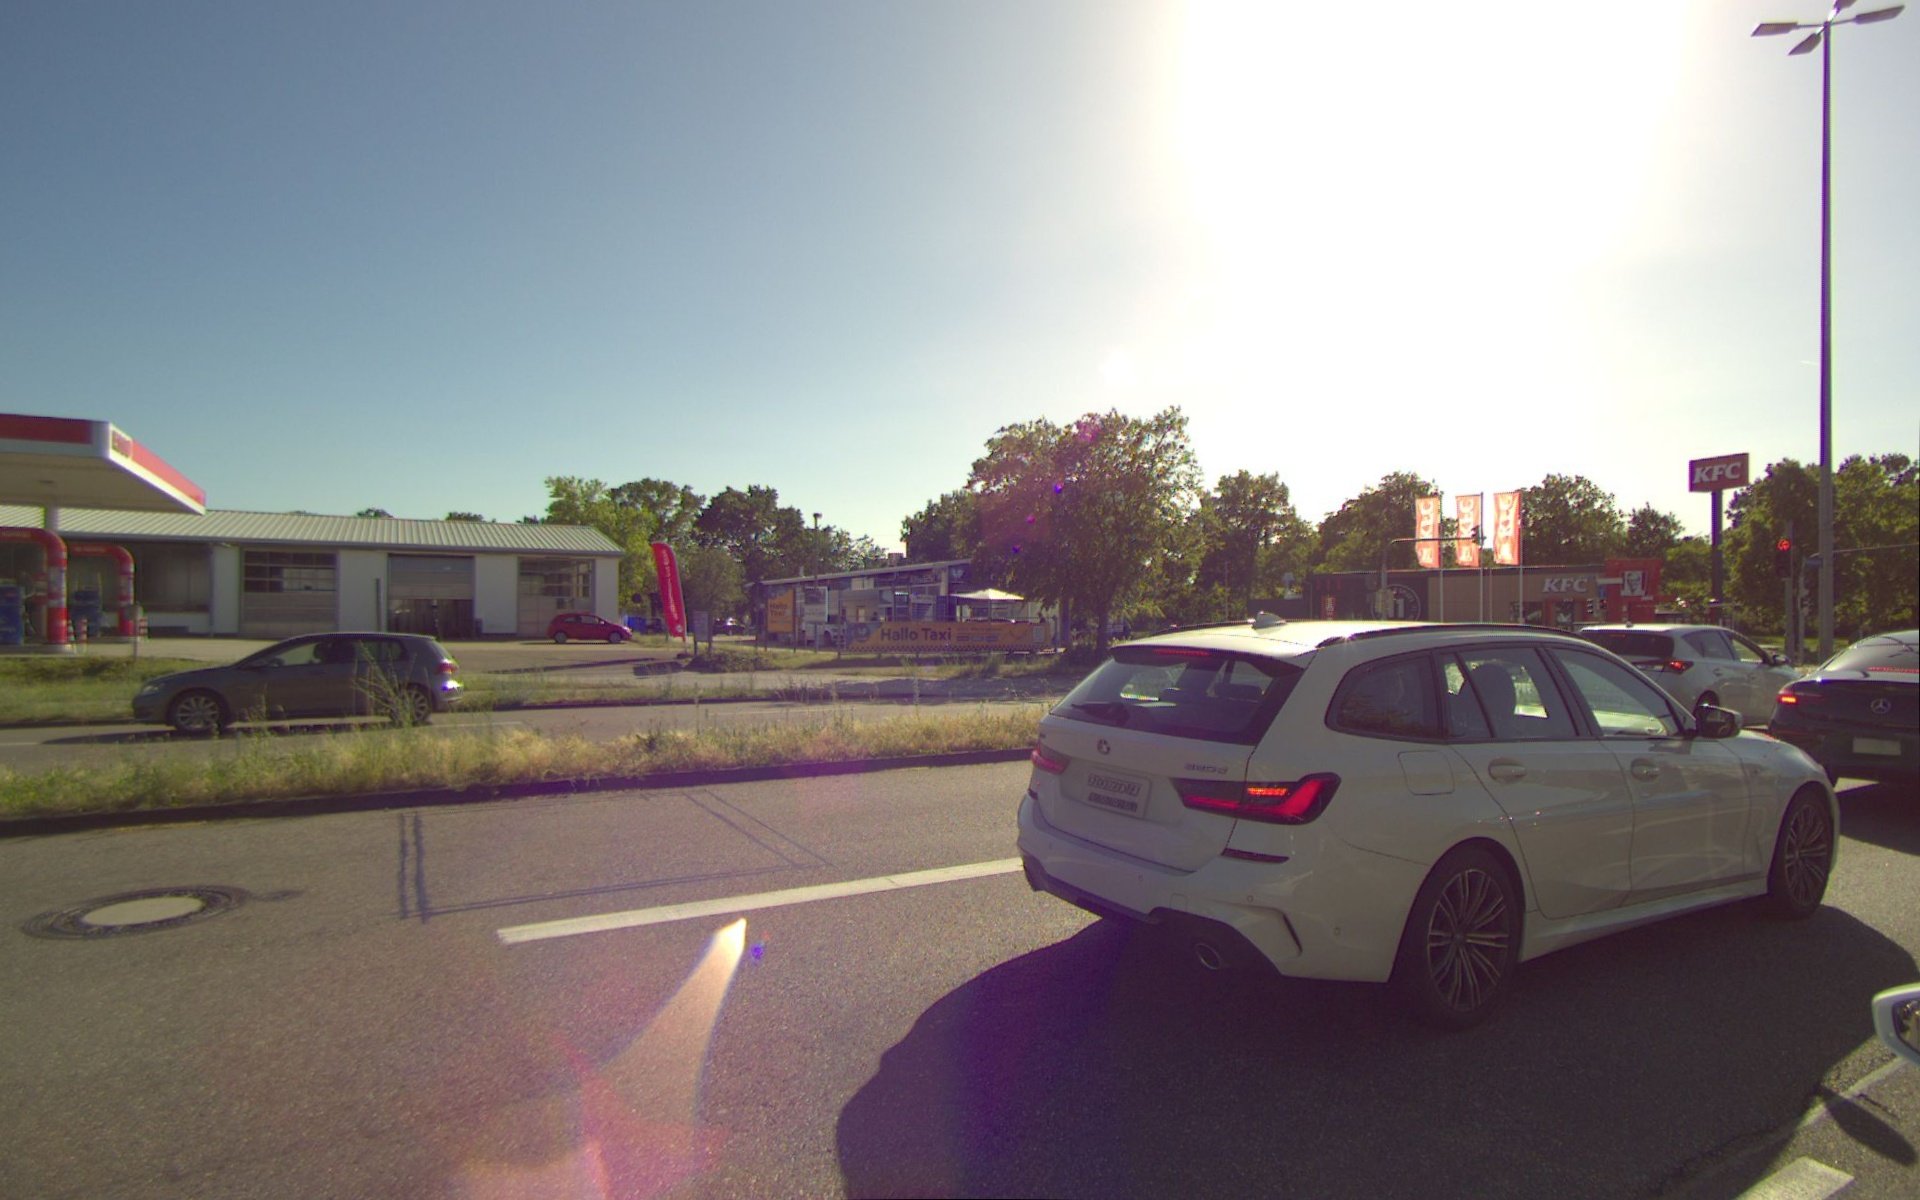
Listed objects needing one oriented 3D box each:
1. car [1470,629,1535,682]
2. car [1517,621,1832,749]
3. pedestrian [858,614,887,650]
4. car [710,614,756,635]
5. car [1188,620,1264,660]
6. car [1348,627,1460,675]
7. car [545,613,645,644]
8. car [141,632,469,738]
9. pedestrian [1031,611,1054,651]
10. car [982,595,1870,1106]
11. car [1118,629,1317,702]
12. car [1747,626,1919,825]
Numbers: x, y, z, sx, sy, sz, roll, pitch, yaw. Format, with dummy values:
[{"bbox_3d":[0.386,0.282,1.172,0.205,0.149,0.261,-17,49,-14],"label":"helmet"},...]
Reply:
[{"bbox_3d":[18.330,1.814,34.053,1.829,1.564,4.730,0,-1,27],"label":"car"},{"bbox_3d":[9.636,1.033,13.475,4.352,1.448,1.848,1,-1,-30],"label":"car"},{"bbox_3d":[-4.425,1.616,51.126,1.136,1.787,1.100,0,-1,16],"label":"pedestrian"},{"bbox_3d":[-19.913,2.134,88.258,2.085,1.840,4.000,0,-1,20],"label":"car"},{"bbox_3d":[14.184,2.110,53.824,1.970,2.040,3.980,1,-1,-21],"label":"car"},{"bbox_3d":[19.025,2.138,43.223,1.971,1.869,4.266,1,-1,-23],"label":"car"},{"bbox_3d":[-18.005,1.419,49.553,4.486,1.458,1.741,1,-1,-26],"label":"car"},{"bbox_3d":[-9.881,1.234,15.517,4.003,1.448,1.810,1,-3,-30],"label":"car"},{"bbox_3d":[3.889,1.455,47.350,0.804,1.828,0.951,1,0,-13],"label":"pedestrian"},{"bbox_3d":[2.436,0.795,4.904,4.409,1.529,1.760,1,-1,-30],"label":"car"},{"bbox_3d":[5.879,1.399,22.684,4.691,1.448,1.844,1,-1,-37],"label":"car"},{"bbox_3d":[8.814,0.963,8.625,4.409,1.433,1.760,1,-1,-30],"label":"car"}]
